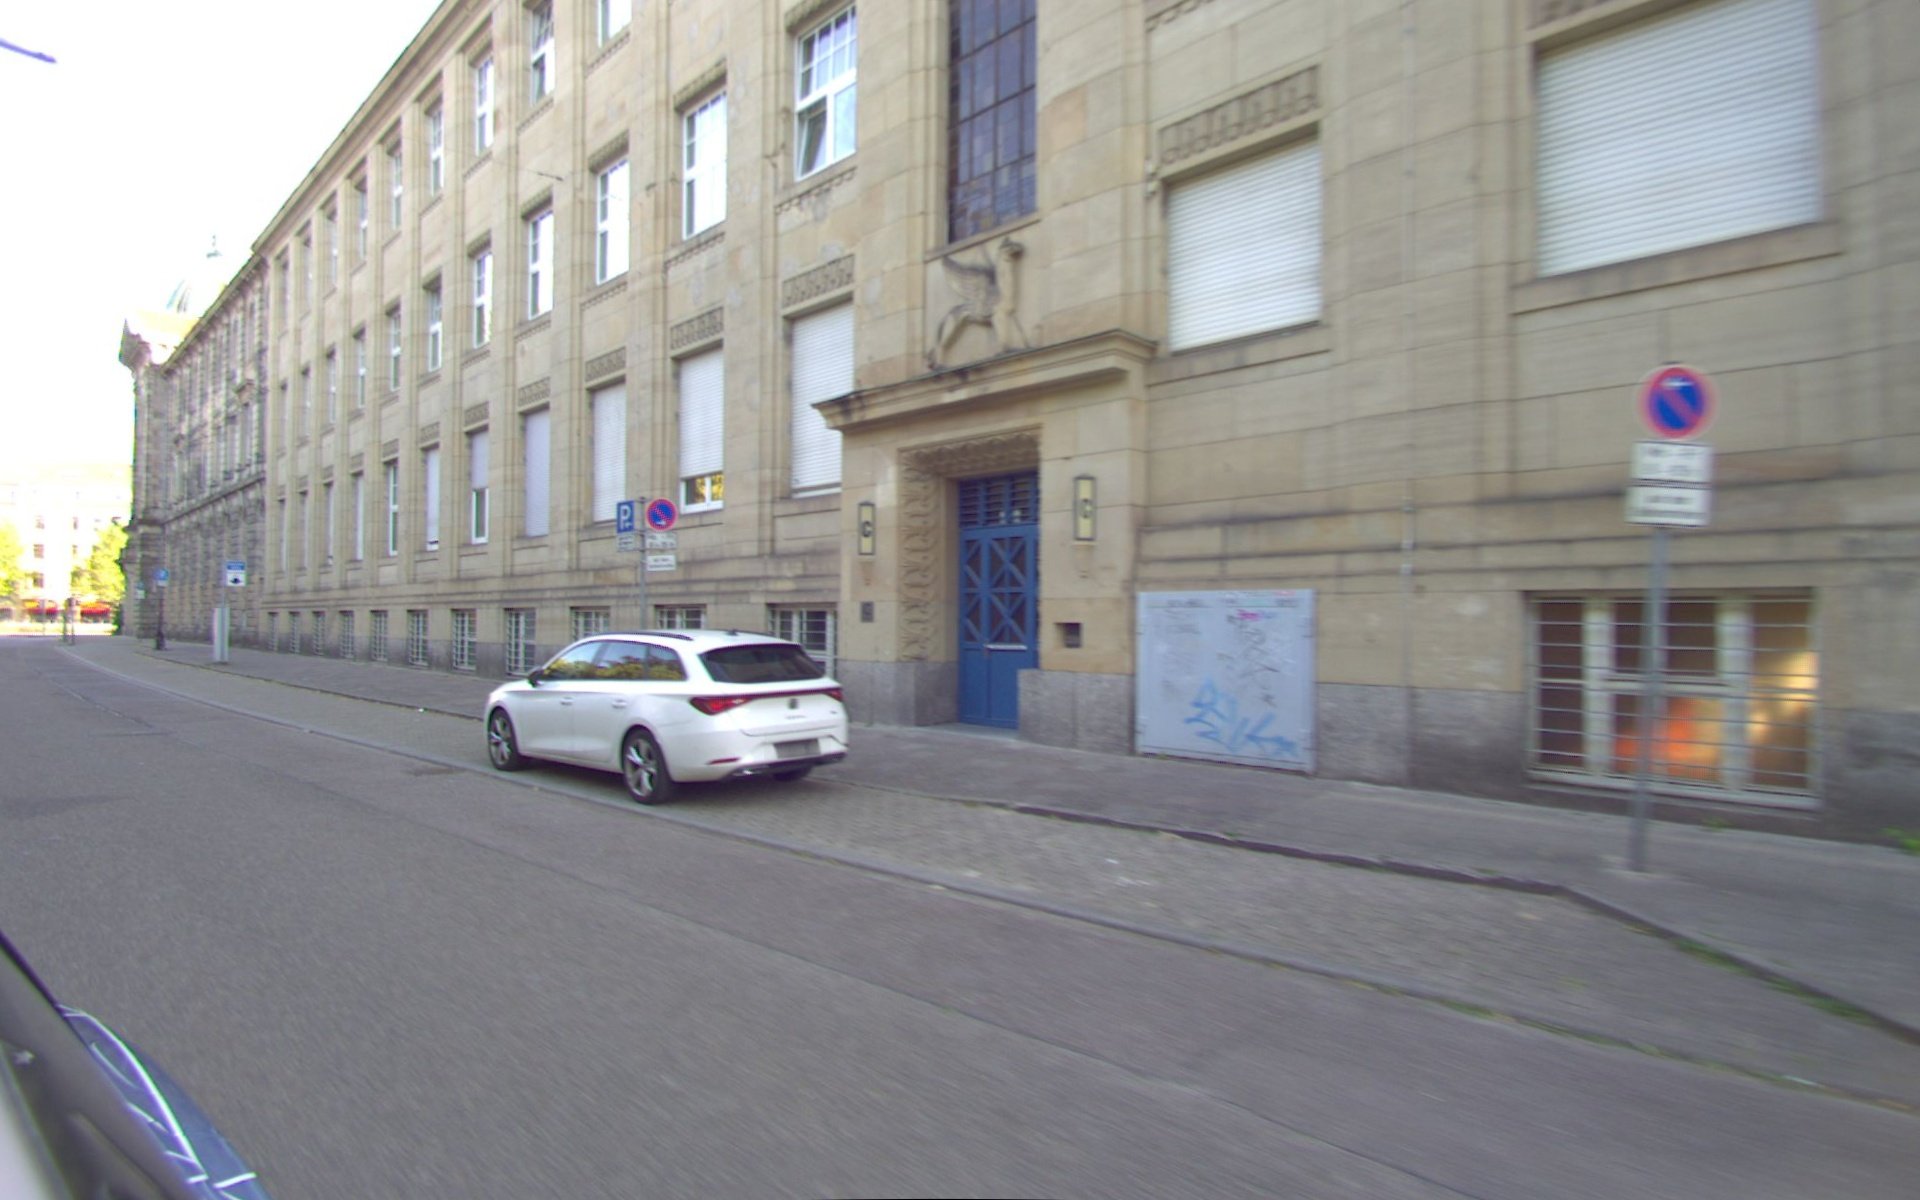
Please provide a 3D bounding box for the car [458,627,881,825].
[{"bbox_3d":[-2.972,0.998,9.733,4.558,1.446,1.725,-1,-1,41],"label":"car"}]

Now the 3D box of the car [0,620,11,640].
[{"bbox_3d":[-82.748,2.482,84.890,4.213,1.657,1.808,1,-2,-10],"label":"car"}]

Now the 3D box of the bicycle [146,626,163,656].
[{"bbox_3d":[-33.016,1.672,41.487,0.451,1.218,1.882,2,-2,-36],"label":"bicycle"}]
